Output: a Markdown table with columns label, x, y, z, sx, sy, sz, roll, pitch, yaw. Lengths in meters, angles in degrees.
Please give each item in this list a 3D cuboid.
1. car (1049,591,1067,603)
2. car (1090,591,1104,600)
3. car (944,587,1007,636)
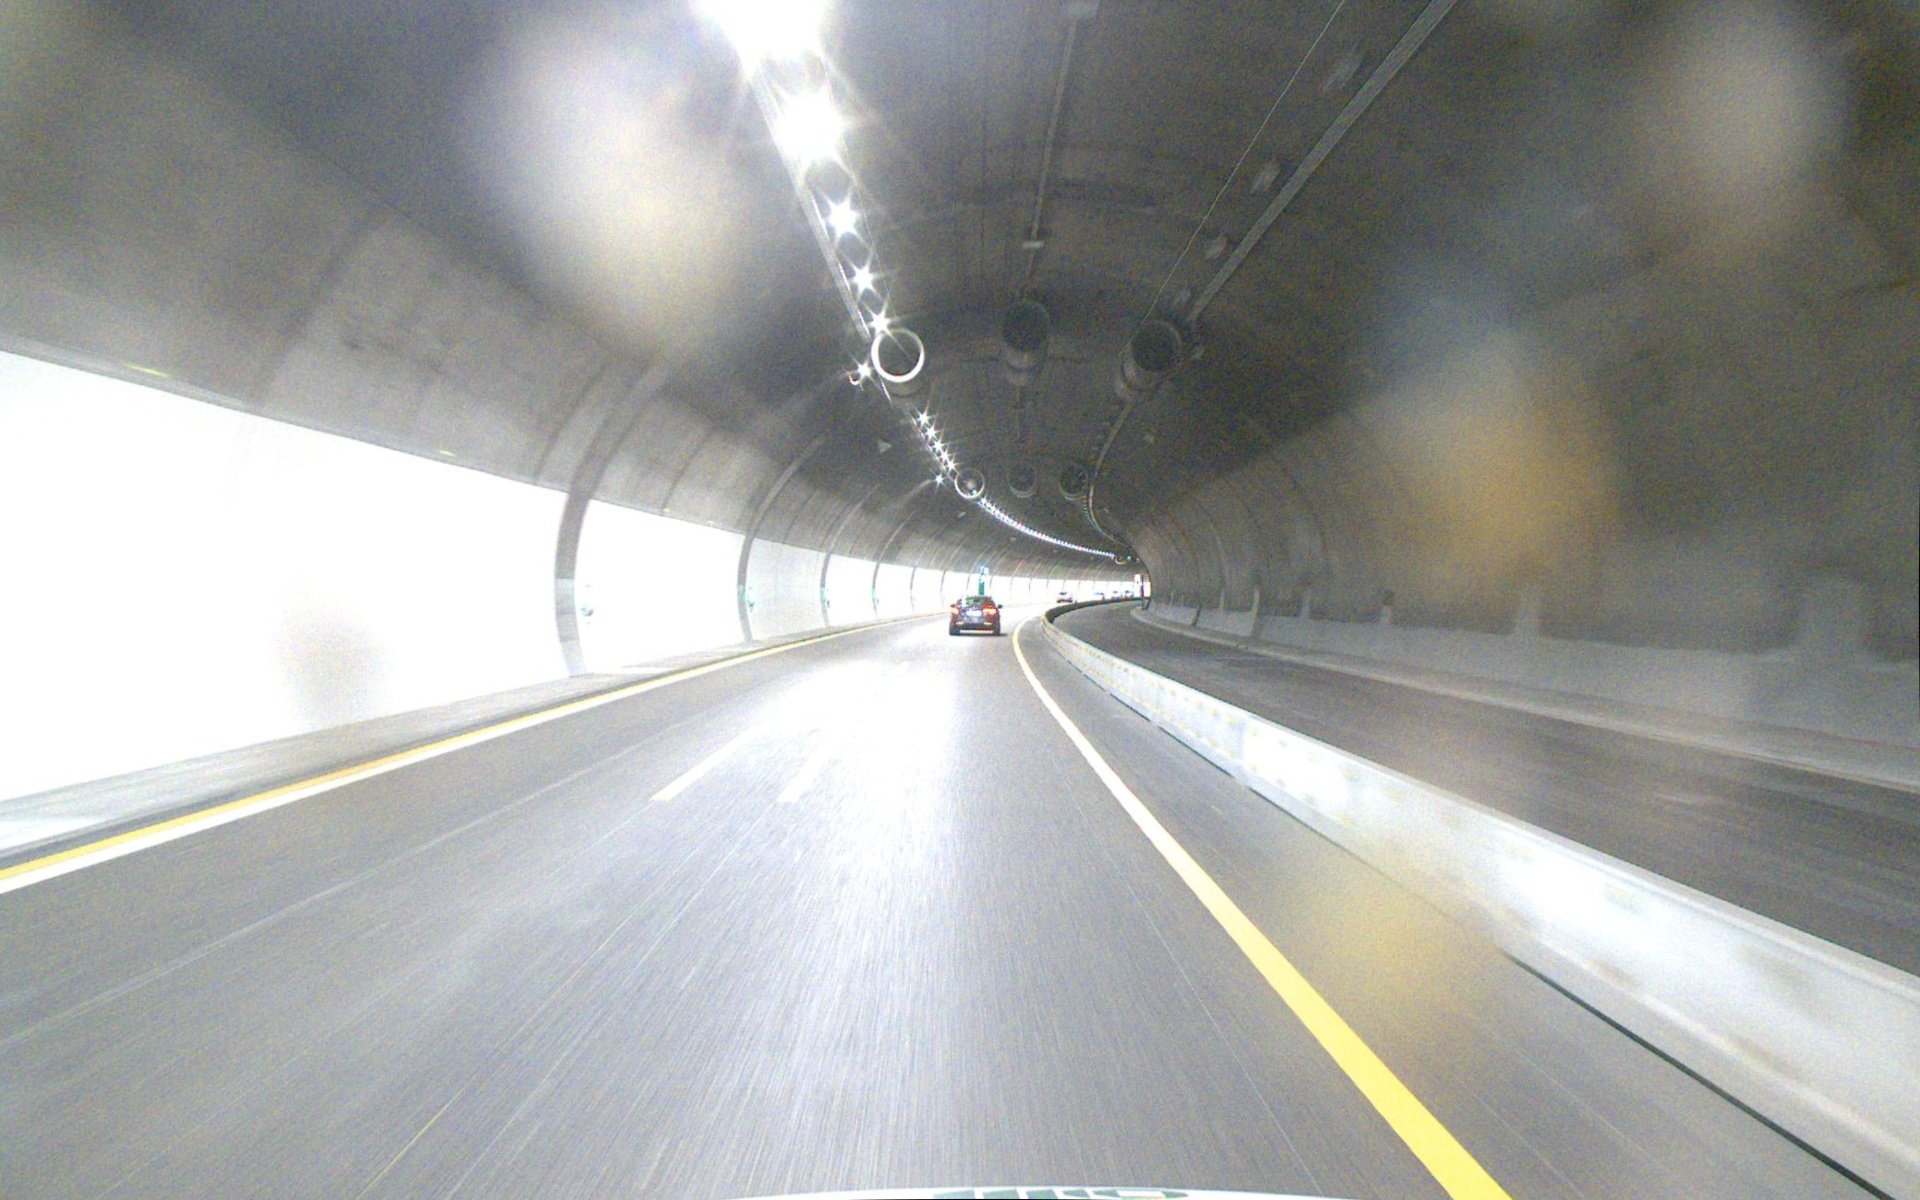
| label | x | y | z | sx | sy | sz | roll | pitch | yaw |
| --- | --- | --- | --- | --- | --- | --- | --- | --- | --- |
| car | 12.984 | -0.418 | 219.134 | 2.119 | 1.512 | 4.003 | 0 | 0 | 6 |
| car | 19.174 | -0.628 | 231.305 | 1.561 | 1.356 | 3.754 | 1 | 0 | 9 |
| car | 0.596 | 0.401 | 61.043 | 2.096 | 1.735 | 4.002 | 0 | 0 | 4 |
